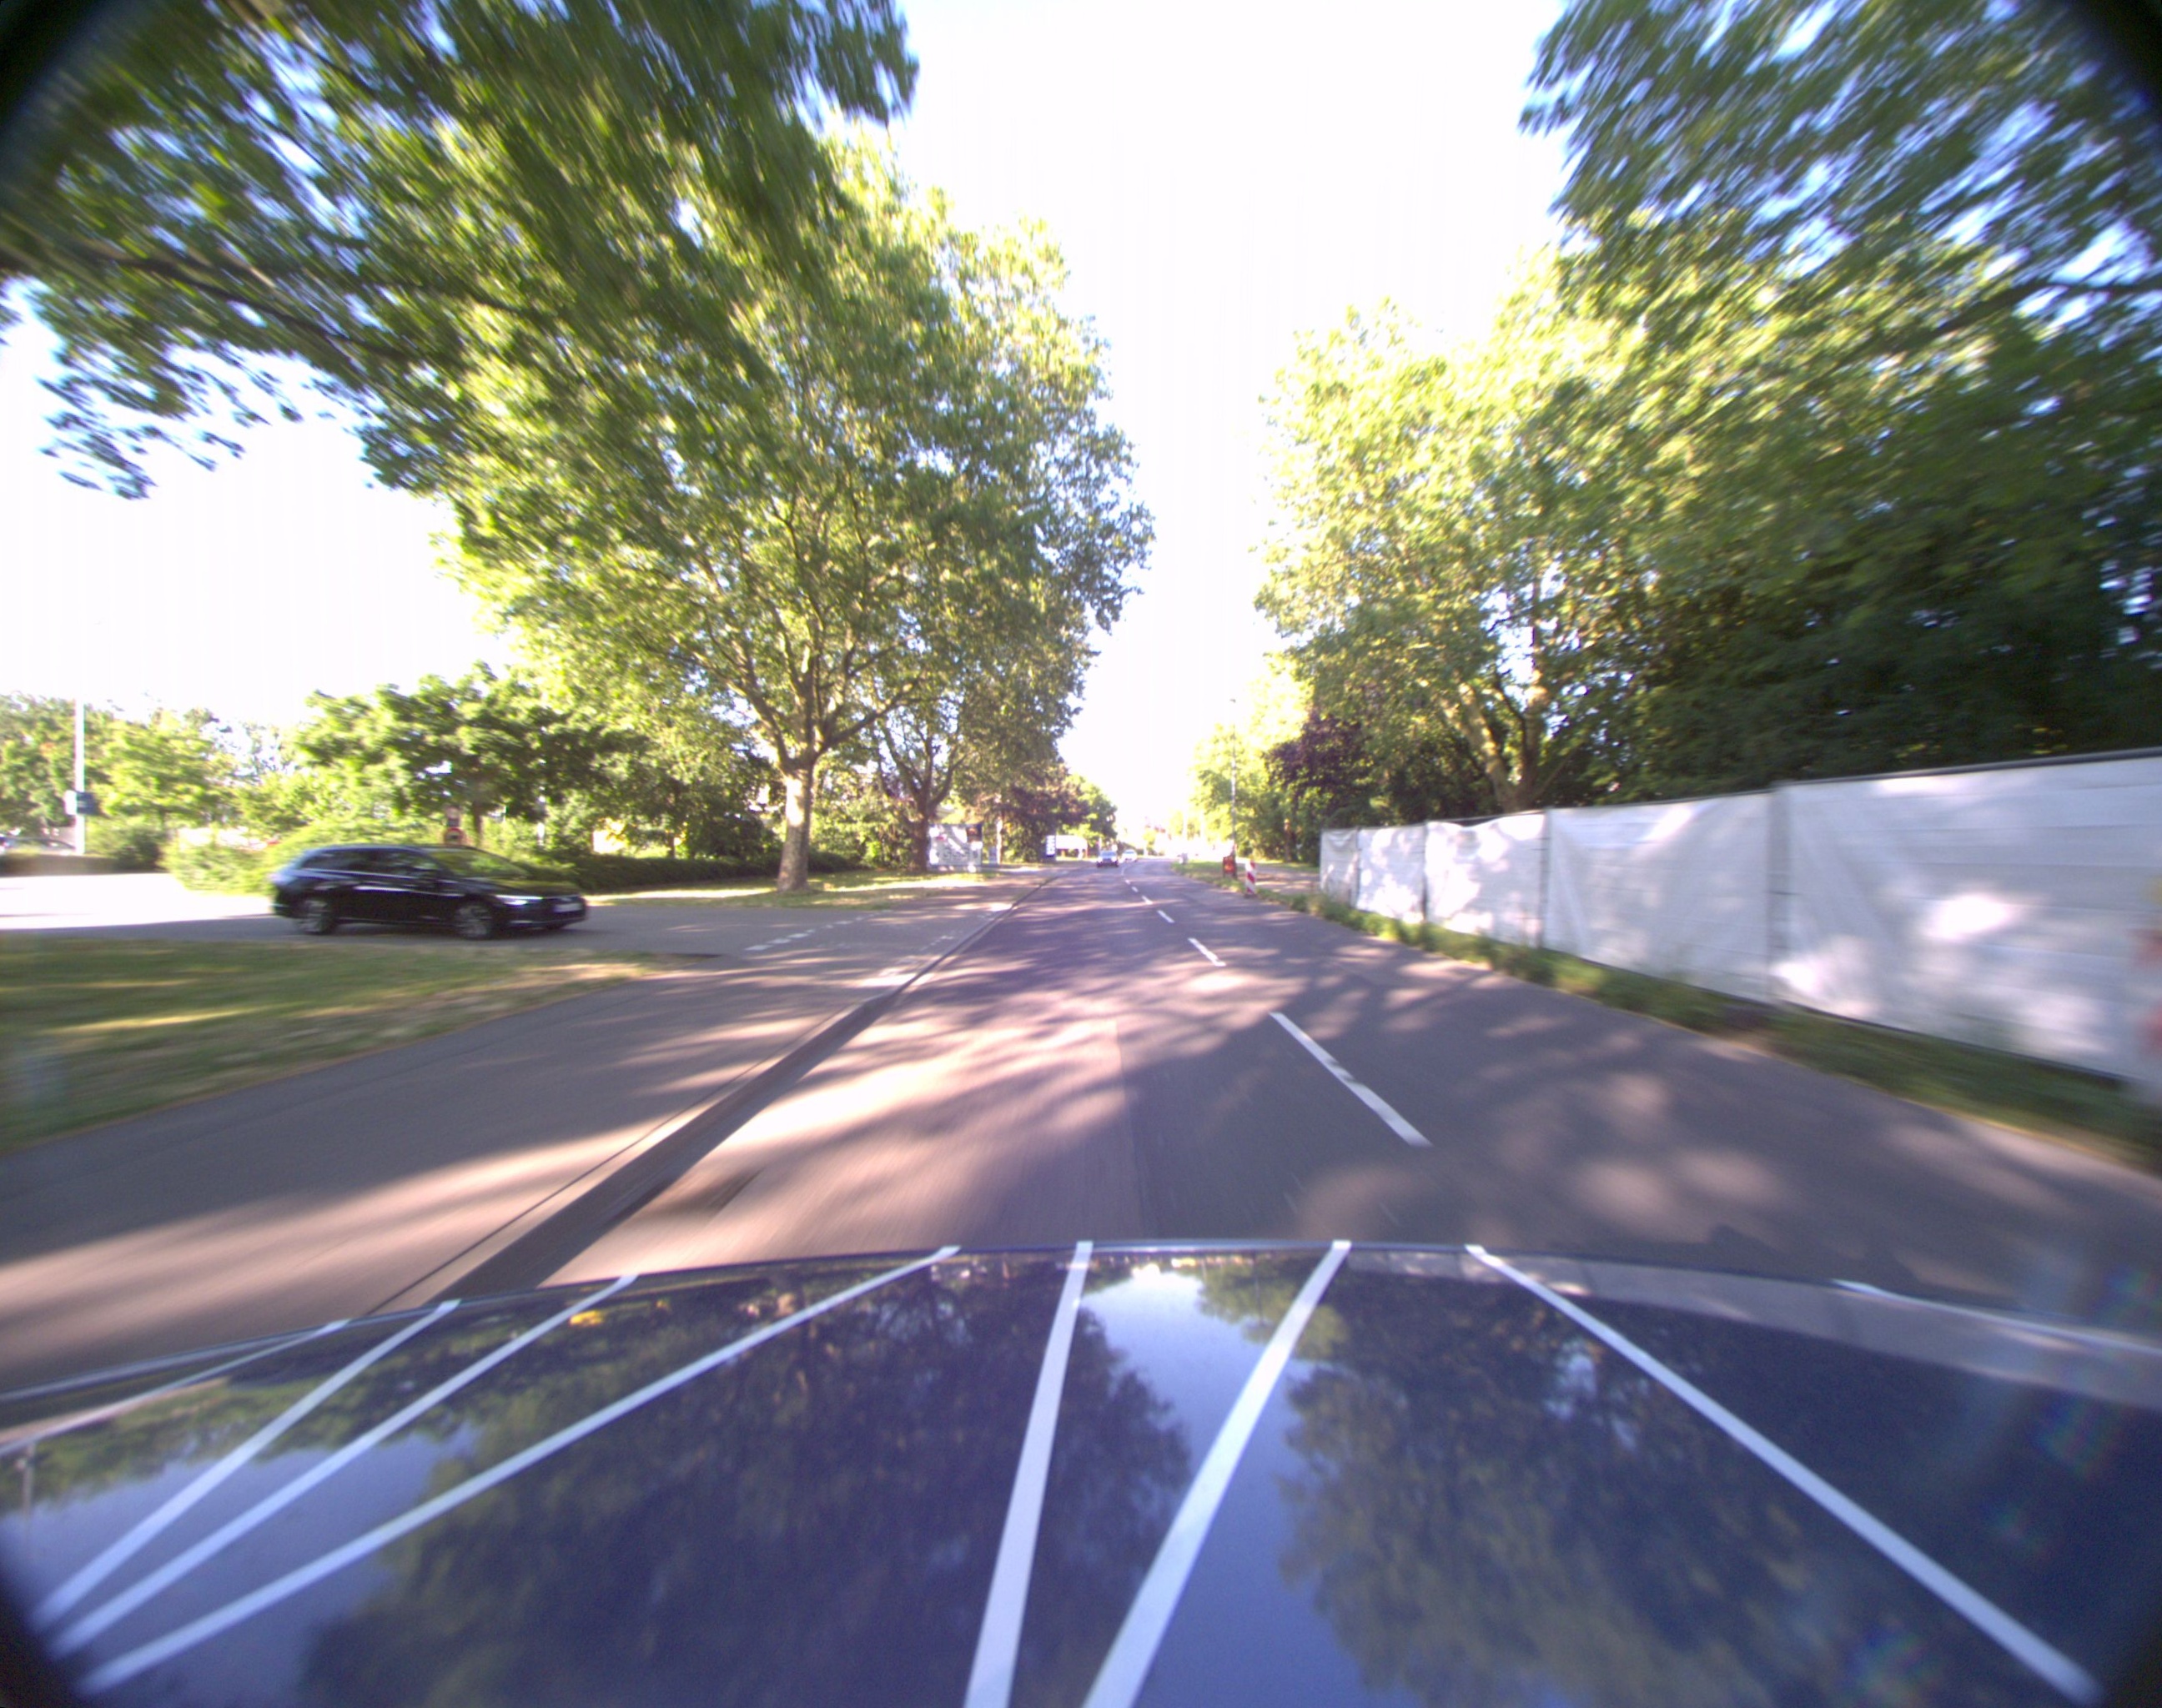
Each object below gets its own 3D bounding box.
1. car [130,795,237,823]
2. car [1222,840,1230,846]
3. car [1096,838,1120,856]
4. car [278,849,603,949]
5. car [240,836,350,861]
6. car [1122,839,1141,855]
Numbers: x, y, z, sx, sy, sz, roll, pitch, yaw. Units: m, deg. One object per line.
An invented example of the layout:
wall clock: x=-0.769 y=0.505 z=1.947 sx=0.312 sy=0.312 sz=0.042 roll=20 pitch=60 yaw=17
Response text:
car: x=-58.281 y=-2.892 z=49.450 sx=1.997 sy=1.609 sz=4.002 roll=1 pitch=1 yaw=7
car: x=37.987 y=-2.853 z=198.800 sx=1.763 sy=1.475 sz=4.113 roll=-2 pitch=0 yaw=17
car: x=2.359 y=-0.660 z=65.447 sx=1.869 sy=1.472 sz=4.087 roll=1 pitch=1 yaw=5
car: x=-10.436 y=0.681 z=12.570 sx=3.995 sy=1.435 sz=1.761 roll=1 pitch=1 yaw=4
car: x=-45.470 y=-0.310 z=44.070 sx=1.997 sy=1.346 sz=4.002 roll=1 pitch=1 yaw=7
car: x=6.441 y=-0.896 z=96.739 sx=1.933 sy=2.002 sz=4.002 roll=0 pitch=2 yaw=11
